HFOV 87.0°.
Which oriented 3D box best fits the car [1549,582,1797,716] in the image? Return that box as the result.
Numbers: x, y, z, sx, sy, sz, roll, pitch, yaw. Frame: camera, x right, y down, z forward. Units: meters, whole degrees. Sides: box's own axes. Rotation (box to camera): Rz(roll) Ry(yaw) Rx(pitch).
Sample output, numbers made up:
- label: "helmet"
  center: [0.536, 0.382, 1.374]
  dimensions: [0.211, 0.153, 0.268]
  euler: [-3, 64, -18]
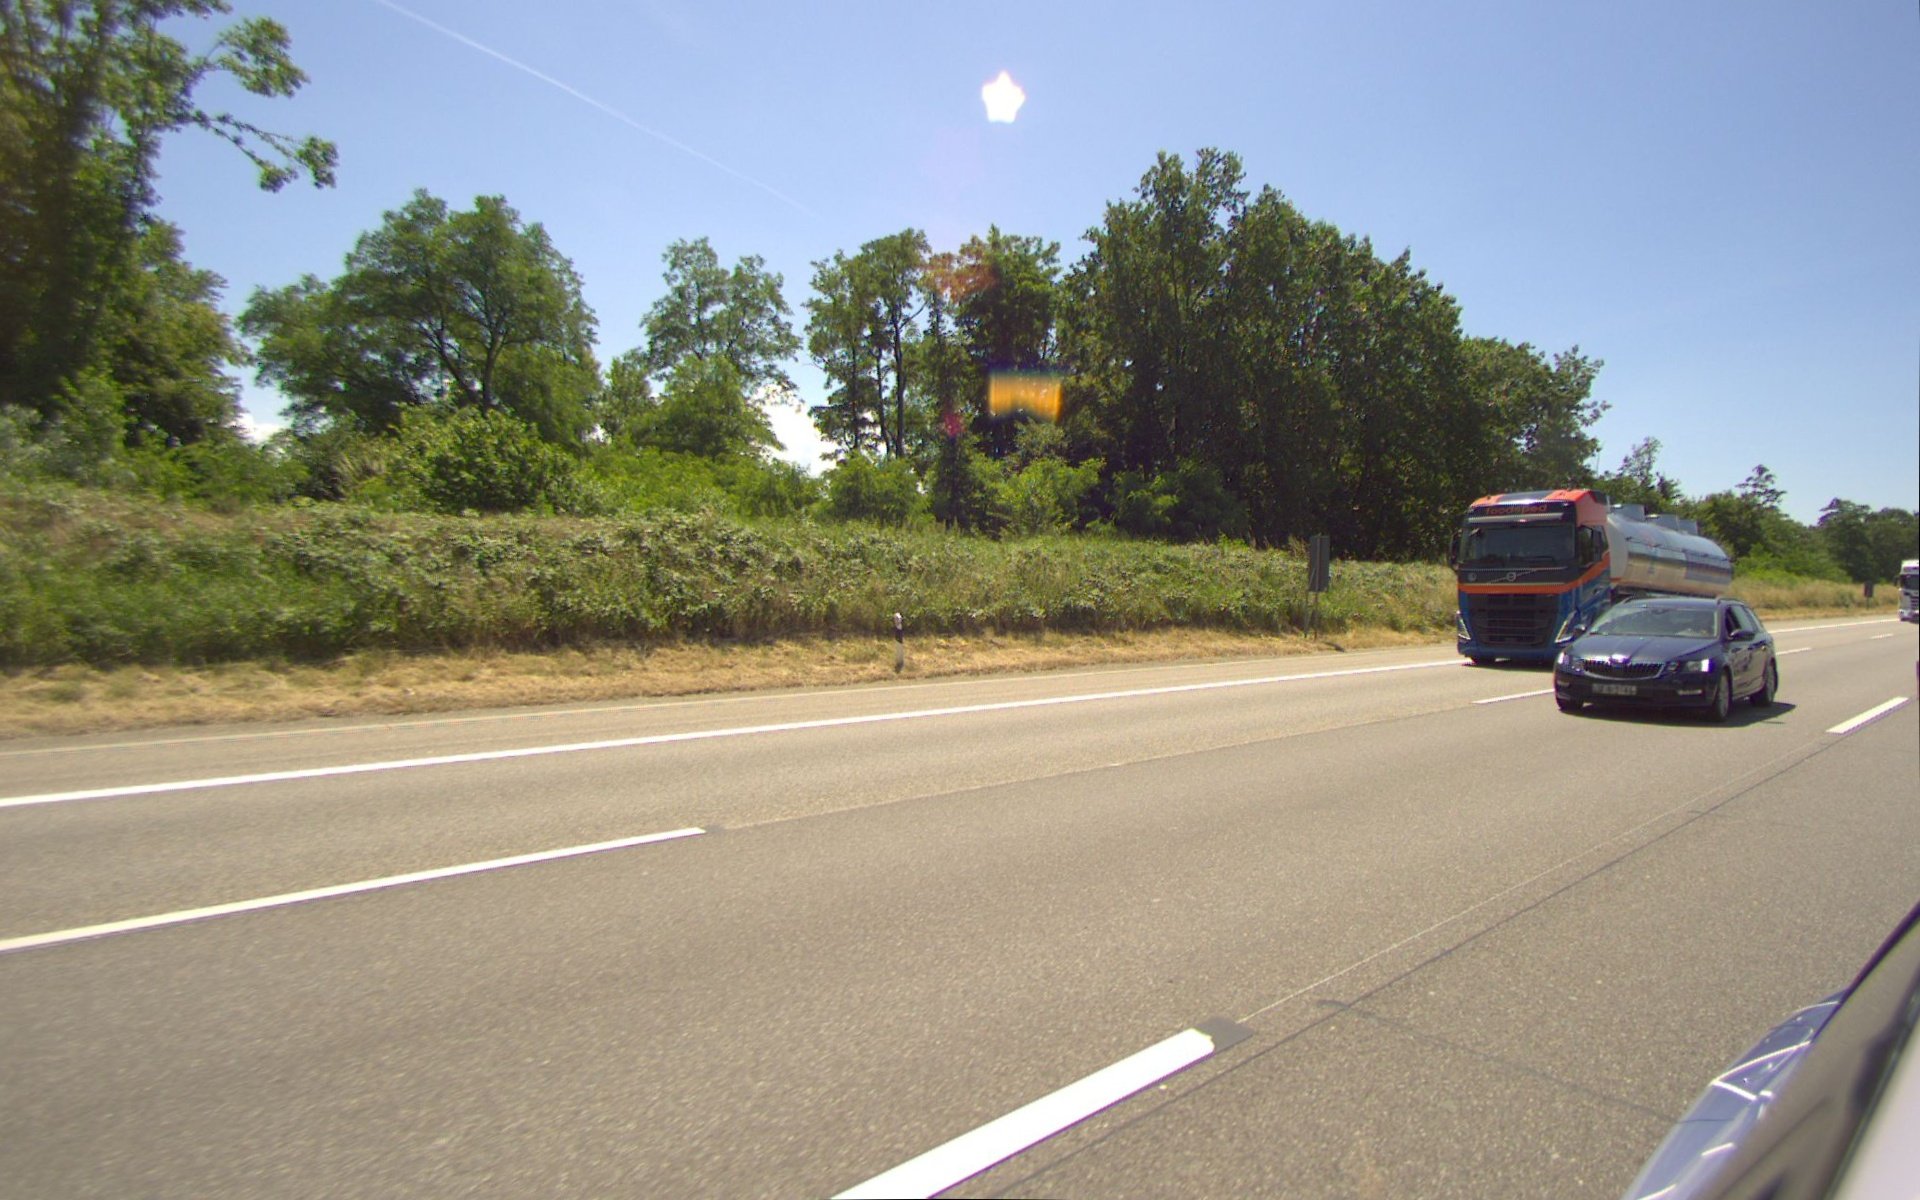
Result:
- label: "car"
  center: [9.592, 0.538, 13.490]
  dimensions: [4.198, 1.502, 1.804]
  euler: [0, 0, -41]

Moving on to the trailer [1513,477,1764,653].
- label: "trailer"
  center: [18.005, -0.786, 26.346]
  dimensions: [11.346, 3.781, 2.533]
  euler: [0, 0, -41]

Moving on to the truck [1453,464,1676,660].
- label: "truck"
  center: [13.562, -0.756, 22.514]
  dimensions: [5.992, 3.781, 2.533]
  euler: [0, 0, -41]

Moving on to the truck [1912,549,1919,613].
- label: "truck"
  center: [64.551, -1.231, 66.325]
  dimensions: [6.066, 4.053, 2.601]
  euler: [0, 0, -41]
